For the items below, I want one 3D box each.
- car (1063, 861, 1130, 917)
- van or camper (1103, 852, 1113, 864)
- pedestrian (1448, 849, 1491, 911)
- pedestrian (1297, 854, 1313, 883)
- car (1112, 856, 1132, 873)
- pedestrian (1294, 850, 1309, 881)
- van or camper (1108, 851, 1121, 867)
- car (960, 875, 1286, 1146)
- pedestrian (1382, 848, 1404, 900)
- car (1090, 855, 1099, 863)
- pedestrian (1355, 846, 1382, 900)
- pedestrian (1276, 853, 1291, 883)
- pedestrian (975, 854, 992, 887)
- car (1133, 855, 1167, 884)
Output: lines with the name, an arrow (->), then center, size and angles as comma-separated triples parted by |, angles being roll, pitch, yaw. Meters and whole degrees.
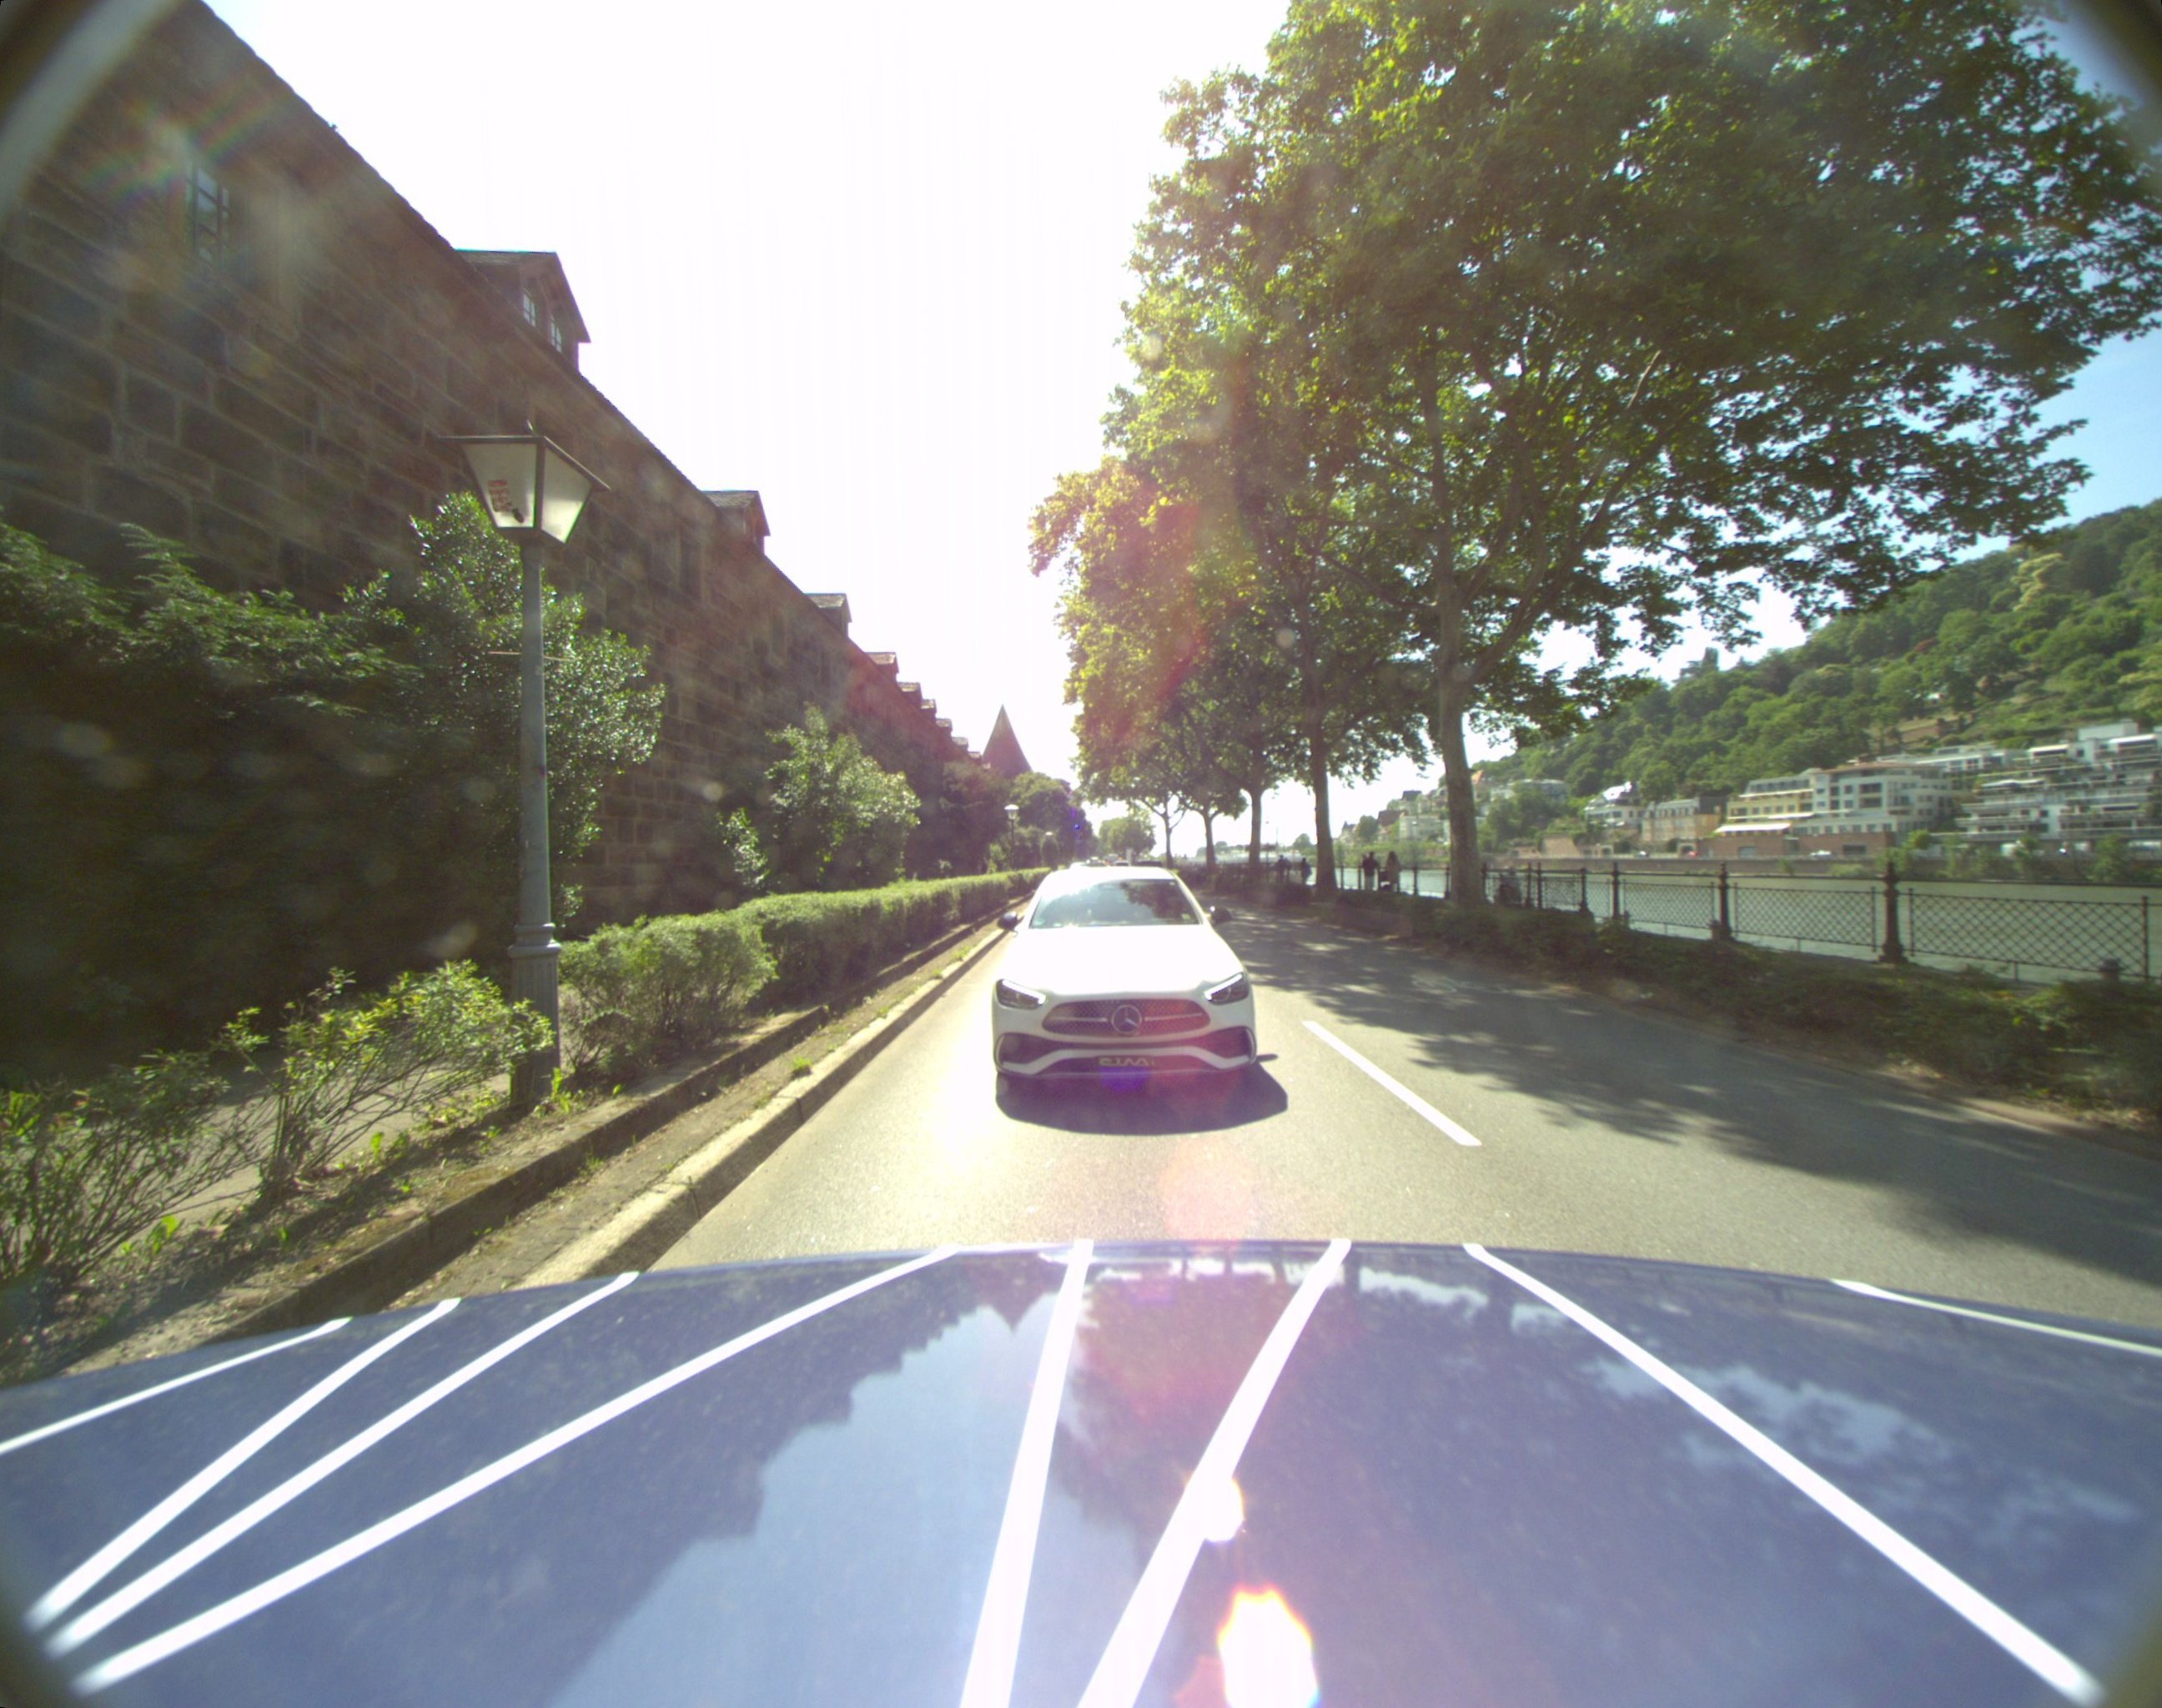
car -> 0.474, 1.003, 23.245 | 1.854, 1.543, 3.849 | 0, 0, 1
van or camper -> 6.462, 0.912, 181.465 | 2.328, 2.646, 6.264 | 1, 0, 1
pedestrian -> 11.000, 0.718, 21.550 | 0.695, 1.707, 0.874 | -3, 1, -1
pedestrian -> 12.564, 0.789, 42.707 | 0.705, 1.594, 0.705 | -1, 1, 3
car -> 4.236, 1.031, 78.829 | 1.881, 1.688, 4.258 | 0, 0, 0
pedestrian -> 12.863, 0.688, 44.337 | 0.705, 1.786, 0.705 | -1, 1, 3
van or camper -> 5.524, 0.783, 124.256 | 1.965, 2.552, 5.841 | 0, 0, 1
car -> 0.272, 0.961, 6.549 | 1.829, 1.418, 4.359 | -2, 0, 1
pedestrian -> 10.807, 0.694, 26.344 | 0.518, 1.758, 0.592 | 1, 0, 1
car -> 3.253, 1.205, 177.562 | 1.923, 1.975, 3.999 | 0, 0, -2
pedestrian -> 10.036, 0.660, 26.536 | 0.642, 1.859, 0.806 | 1, 0, 1
pedestrian -> 11.798, 0.820, 44.206 | 0.705, 1.721, 0.705 | -1, 1, 3
pedestrian -> -4.811, 0.820, 37.645 | 0.700, 1.643, 0.705 | 0, 0, 3
car -> 4.117, 0.901, 45.855 | 1.768, 1.638, 4.090 | 0, 0, 1
